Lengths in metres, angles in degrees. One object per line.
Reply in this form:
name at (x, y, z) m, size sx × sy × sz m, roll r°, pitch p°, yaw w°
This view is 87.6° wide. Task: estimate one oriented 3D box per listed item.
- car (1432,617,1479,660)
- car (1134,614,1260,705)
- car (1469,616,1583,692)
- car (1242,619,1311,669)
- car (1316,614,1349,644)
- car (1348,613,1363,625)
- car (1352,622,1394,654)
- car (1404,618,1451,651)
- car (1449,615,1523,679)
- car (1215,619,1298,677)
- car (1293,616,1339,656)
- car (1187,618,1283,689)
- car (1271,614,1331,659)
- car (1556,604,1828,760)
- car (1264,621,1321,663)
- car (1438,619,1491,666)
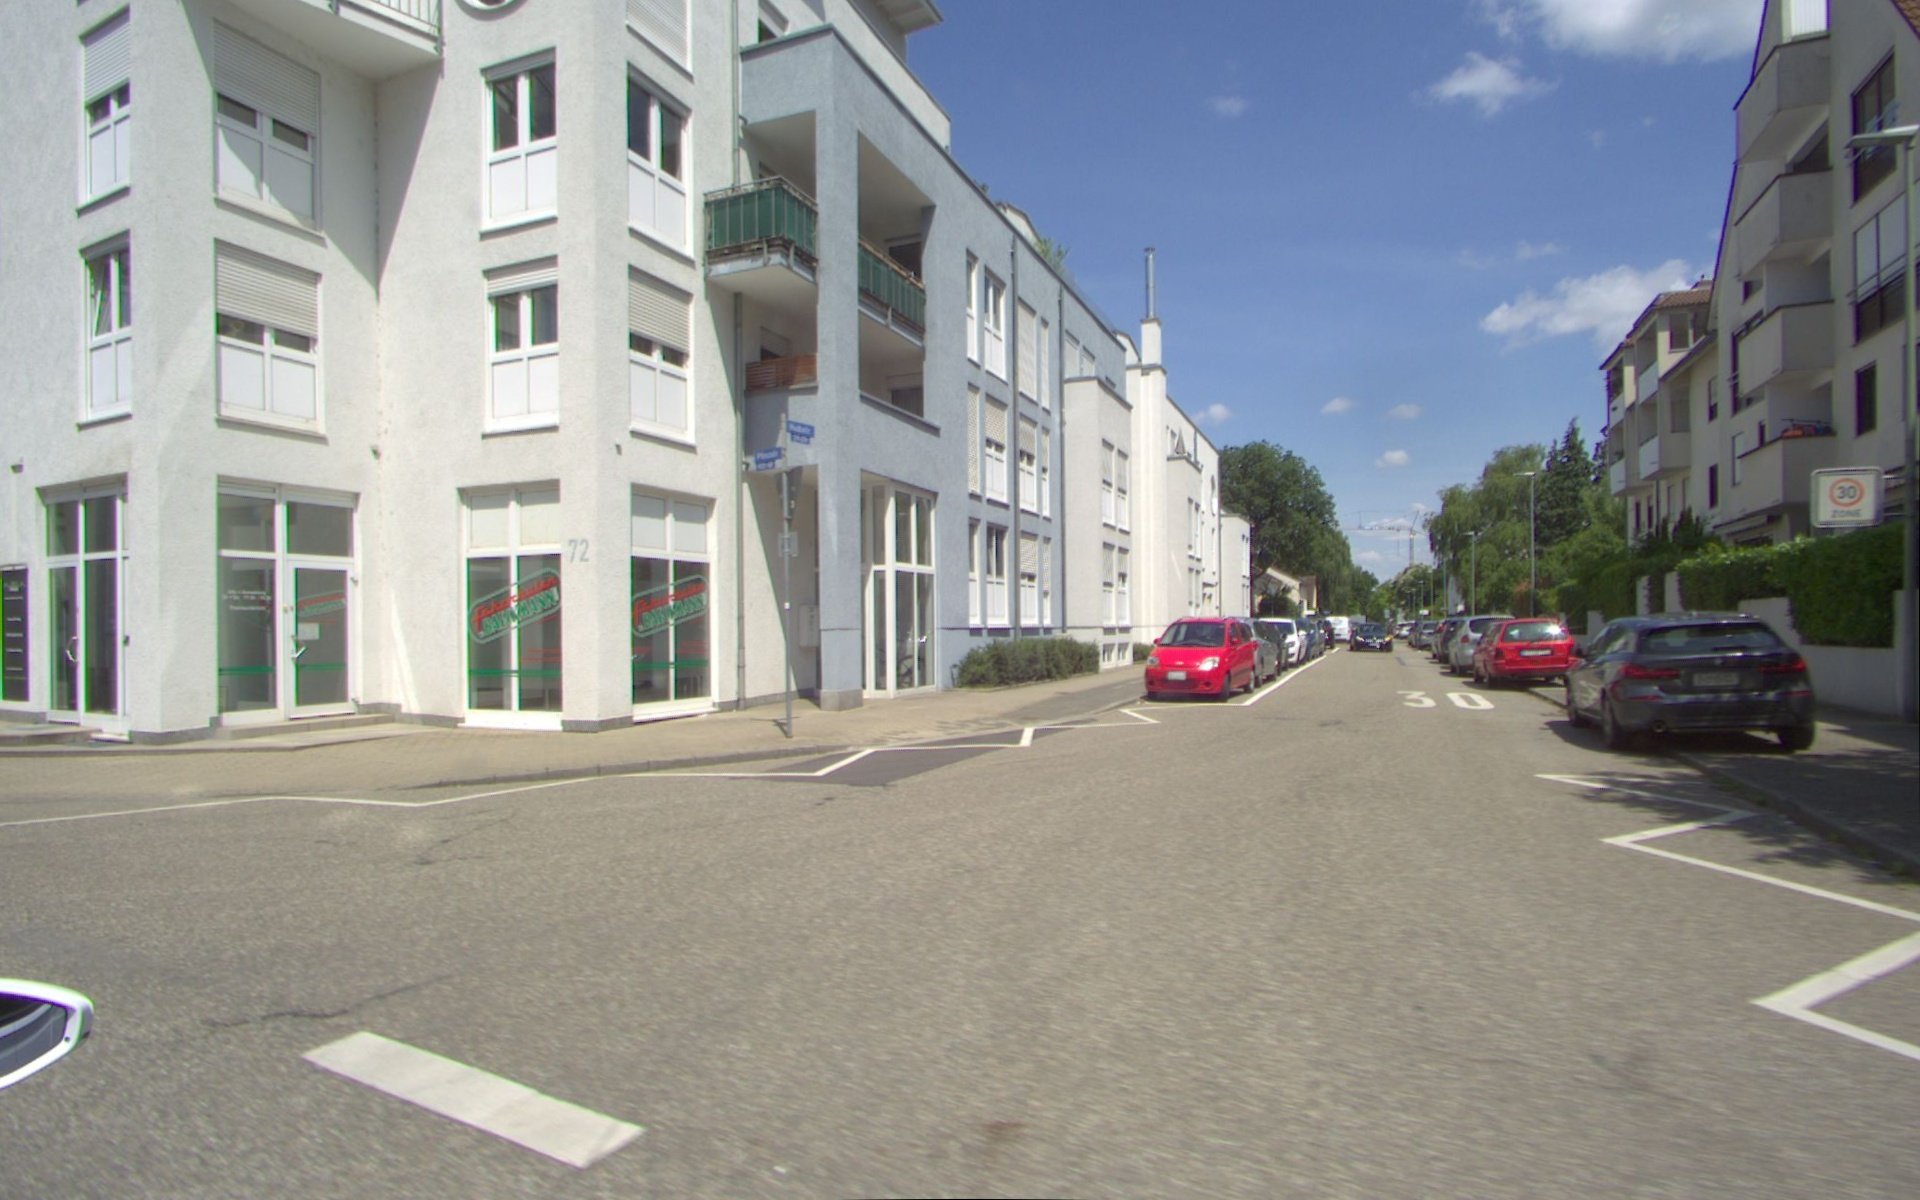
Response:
car at (20.275, 1.552, 41.042) m, size 1.646 × 1.697 × 3.412 m, roll -1°, pitch -2°, yaw 26°
car at (4.574, 1.052, 18.981) m, size 1.571 × 1.561 × 3.505 m, roll -1°, pitch -1°, yaw 26°
car at (12.092, 1.101, 21.603) m, size 1.626 × 1.485 × 3.778 m, roll 0°, pitch -1°, yaw 22°
car at (10.051, 1.341, 31.652) m, size 1.627 × 1.485 × 3.572 m, roll -1°, pitch -1°, yaw 25°
car at (26.531, 2.097, 71.205) m, size 1.967 × 2.038 × 3.991 m, roll 0°, pitch -3°, yaw 24°
car at (63.440, 3.027, 160.597) m, size 1.967 × 1.817 × 3.988 m, roll -1°, pitch -1°, yaw 25°
car at (21.616, 2.023, 52.337) m, size 1.967 × 1.593 × 3.992 m, roll 0°, pitch -3°, yaw 23°
car at (25.376, 1.898, 54.490) m, size 1.965 × 1.697 × 3.995 m, roll 0°, pitch -3°, yaw 20°
car at (14.053, 1.223, 26.883) m, size 1.510 × 1.577 × 3.775 m, roll 0°, pitch -1°, yaw 24°
car at (8.184, 1.266, 27.458) m, size 1.627 × 1.485 × 3.774 m, roll -1°, pitch -1°, yaw 25°
car at (19.326, 1.987, 54.283) m, size 1.968 × 2.038 × 3.989 m, roll -1°, pitch -3°, yaw 26°
car at (6.361, 1.164, 22.918) m, size 1.511 × 1.485 × 3.774 m, roll -1°, pitch -1°, yaw 25°
car at (14.390, 1.511, 42.102) m, size 1.968 × 1.777 × 3.988 m, roll -1°, pitch -2°, yaw 25°
car at (8.278, 0.815, 11.725) m, size 1.709 × 1.487 × 3.988 m, roll -1°, pitch -1°, yaw 24°
car at (12.394, 1.534, 37.186) m, size 1.627 × 1.485 × 3.572 m, roll -1°, pitch -1°, yaw 25°
car at (18.085, 1.484, 35.989) m, size 1.510 × 1.577 × 3.775 m, roll 0°, pitch -1°, yaw 24°
